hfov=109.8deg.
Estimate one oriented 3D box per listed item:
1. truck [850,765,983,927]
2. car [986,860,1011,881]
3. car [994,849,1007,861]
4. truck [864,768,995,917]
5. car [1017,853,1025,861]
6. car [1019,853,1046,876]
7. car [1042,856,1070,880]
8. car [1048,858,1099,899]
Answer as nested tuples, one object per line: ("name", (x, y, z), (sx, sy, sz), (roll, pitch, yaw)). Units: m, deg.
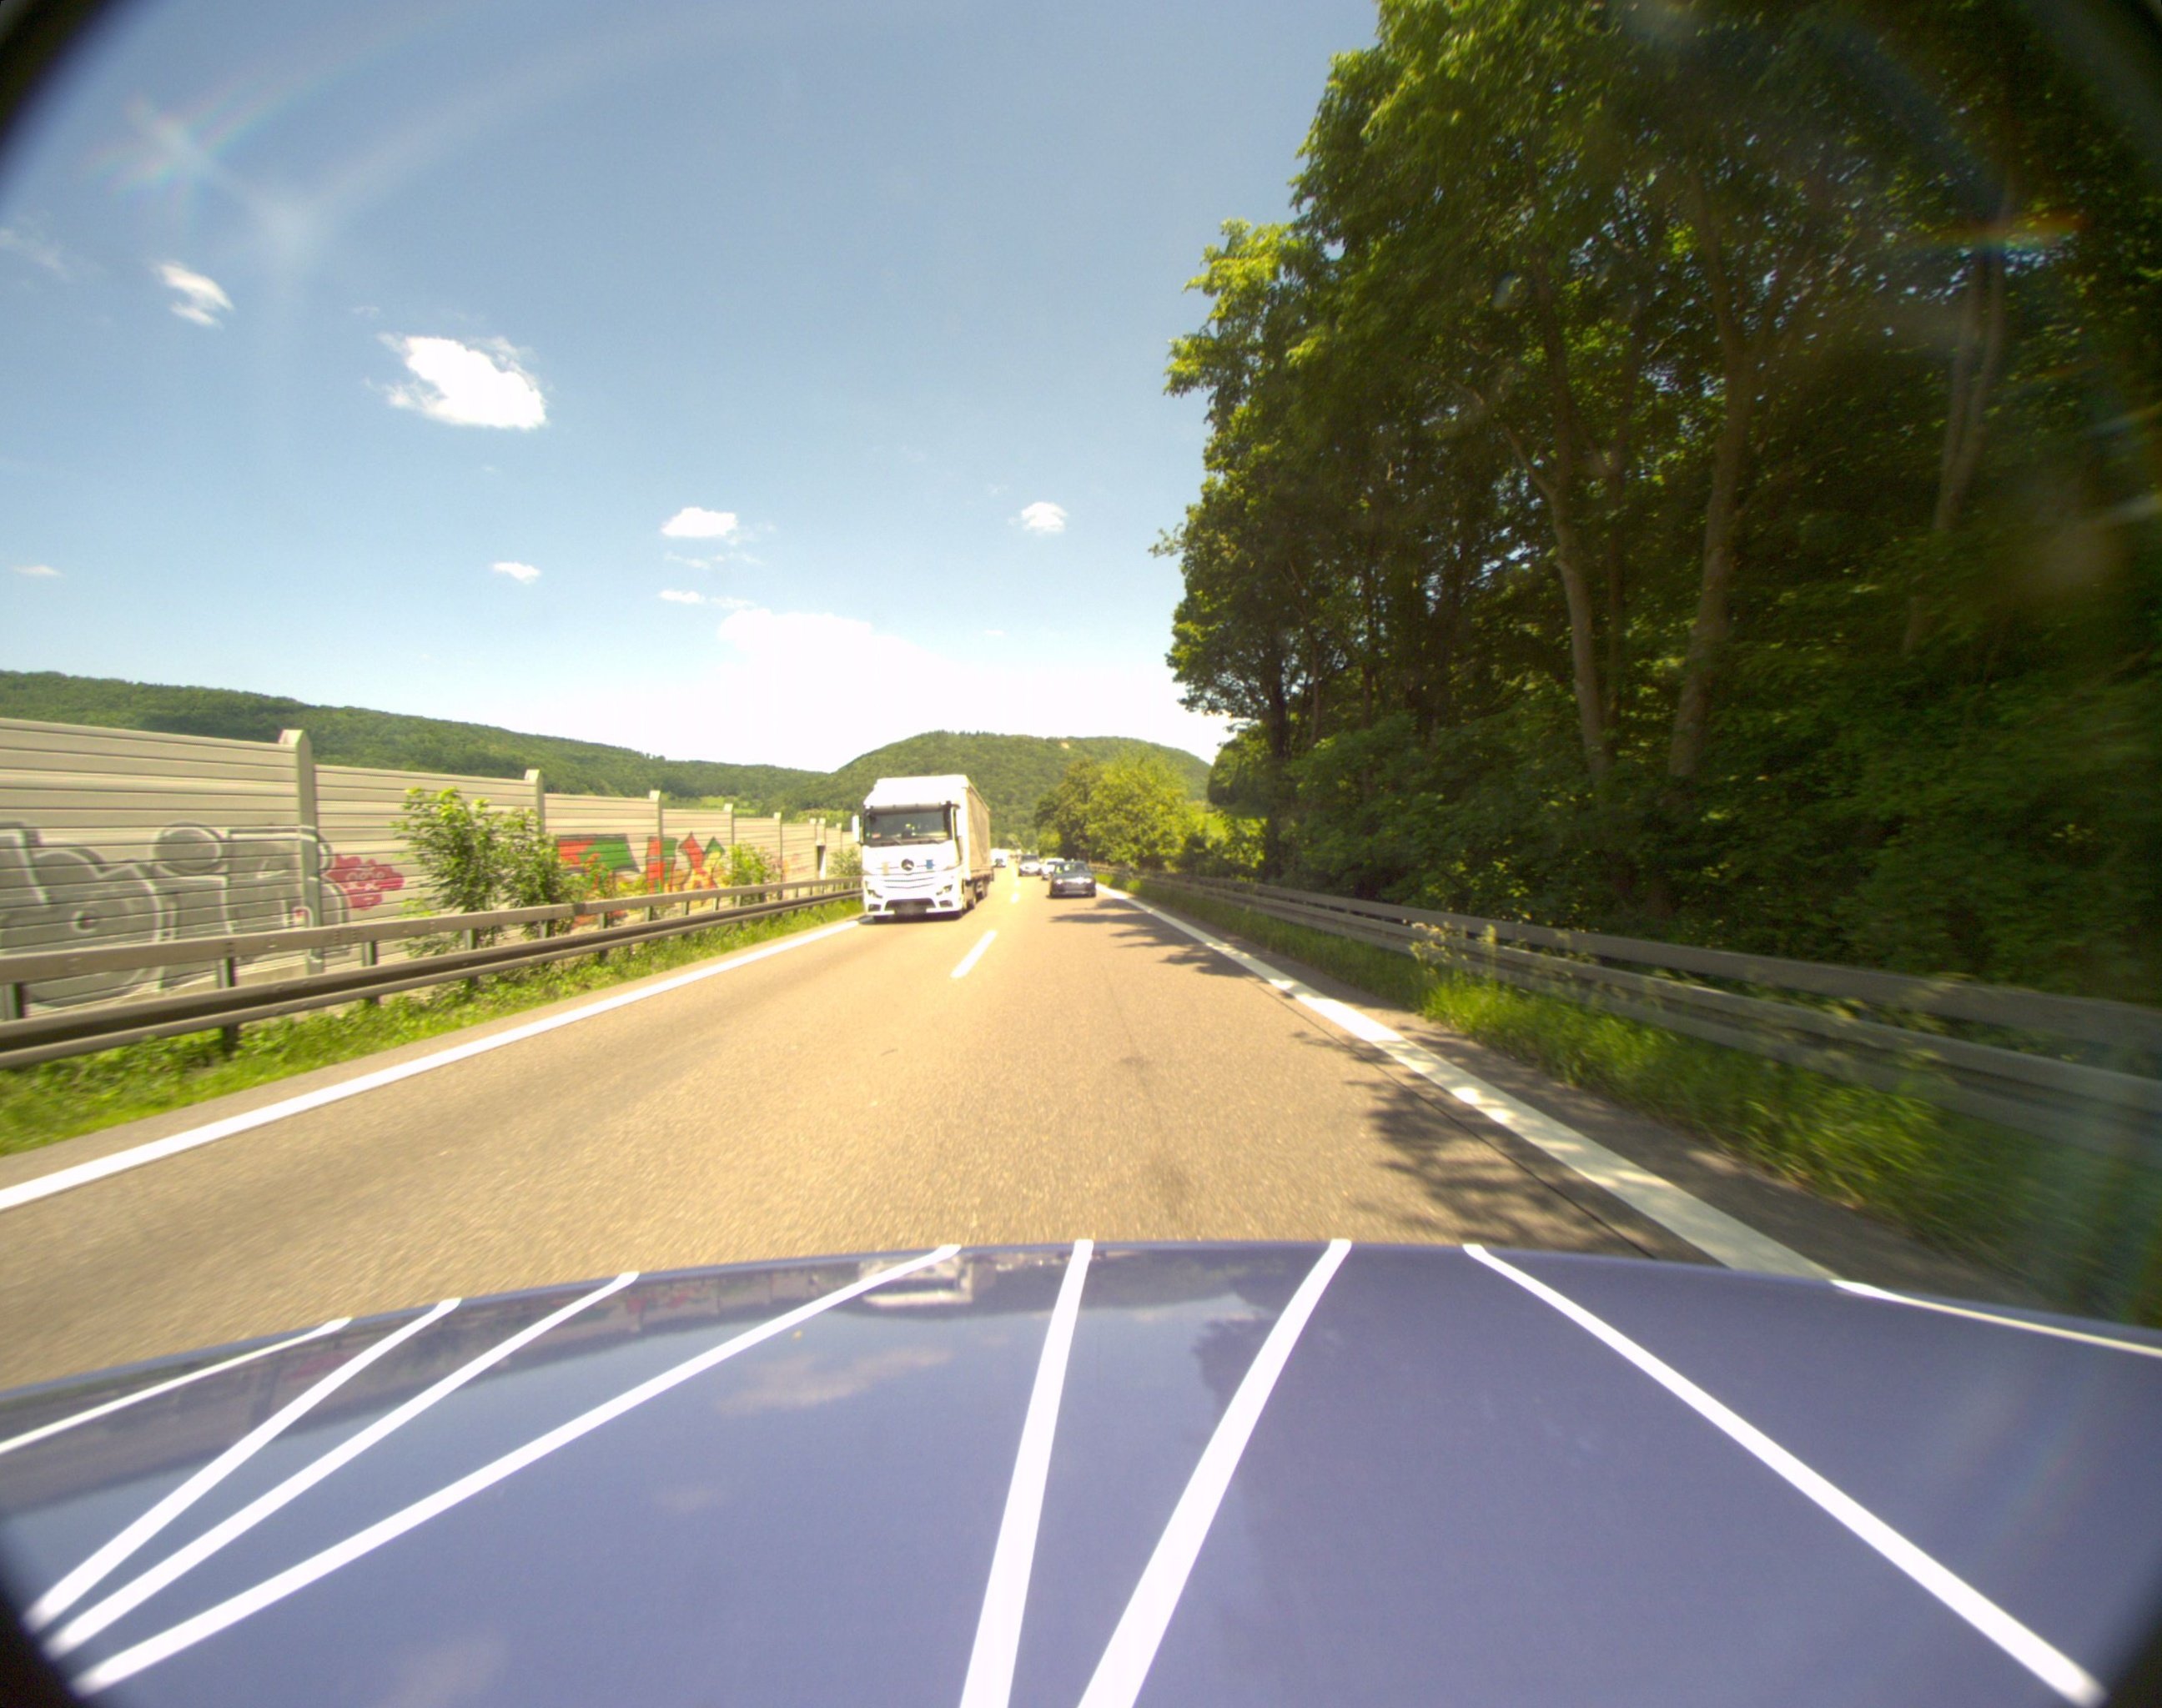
("truck", (-4.626, -0.216, 22.762), (2.765, 4.015, 6.820), (-2, 0, -4))
("car", (-5.986, 1.170, 55.314), (1.663, 1.405, 3.473), (-2, 0, -5))
("car", (-13.286, 0.208, 126.286), (1.999, 1.892, 3.999), (1, -1, -5))
("truck", (-4.988, -0.331, 27.659), (2.862, 4.123, 12.043), (-2, 0, -3))
("car", (-15.381, 0.786, 194.188), (1.999, 2.002, 3.999), (0, 0, -3))
("car", (-4.271, 0.872, 65.895), (2.044, 1.855, 3.997), (-3, 1, -7))
("car", (-1.790, 0.959, 53.392), (1.716, 1.541, 3.998), (0, 0, -6))
("car", (-0.348, 0.909, 29.530), (1.663, 1.435, 3.473), (-1, 0, -5))
